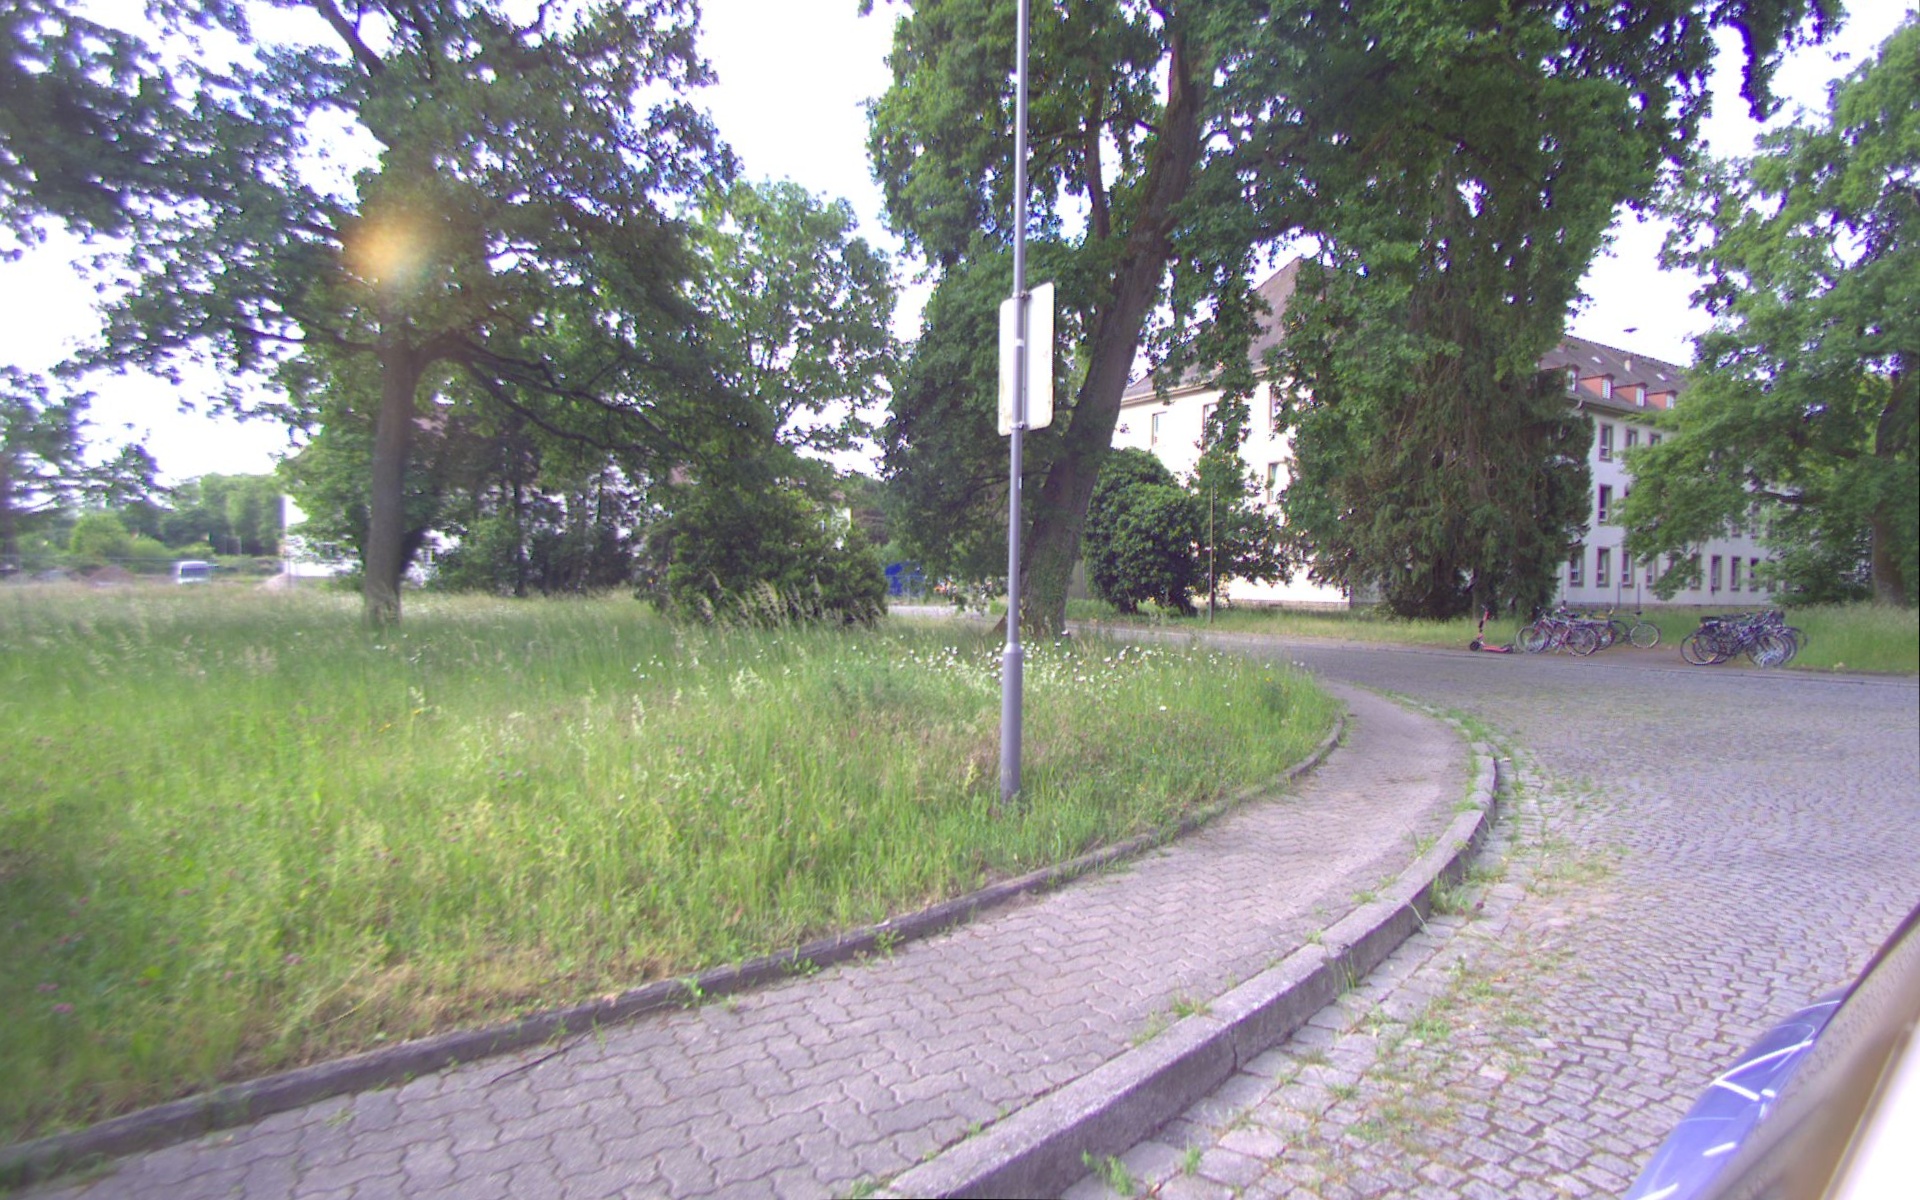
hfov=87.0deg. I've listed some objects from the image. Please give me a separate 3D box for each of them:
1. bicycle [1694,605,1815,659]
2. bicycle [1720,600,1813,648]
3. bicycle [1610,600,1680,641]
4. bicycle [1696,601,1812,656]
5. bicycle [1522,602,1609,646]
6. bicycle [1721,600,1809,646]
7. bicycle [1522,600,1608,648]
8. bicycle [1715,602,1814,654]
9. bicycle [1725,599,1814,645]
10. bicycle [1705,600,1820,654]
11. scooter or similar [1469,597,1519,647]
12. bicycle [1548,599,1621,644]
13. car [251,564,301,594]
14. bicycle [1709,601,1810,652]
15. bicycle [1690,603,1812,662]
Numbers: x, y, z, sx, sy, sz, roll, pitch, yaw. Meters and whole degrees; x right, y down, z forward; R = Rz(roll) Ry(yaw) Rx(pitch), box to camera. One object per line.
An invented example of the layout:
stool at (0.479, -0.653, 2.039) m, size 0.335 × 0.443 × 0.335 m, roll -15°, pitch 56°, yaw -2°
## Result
bicycle at (17.082, 0.668, 21.830) m, size 2.006 × 1.022 × 0.473 m, roll 2°, pitch 4°, yaw 37°
bicycle at (20.493, 0.590, 25.754) m, size 1.798 × 1.101 × 0.546 m, roll 2°, pitch 4°, yaw 37°
bicycle at (18.660, 0.546, 27.587) m, size 1.556 × 1.047 × 0.471 m, roll 2°, pitch 2°, yaw 35°
bicycle at (17.774, 0.617, 22.708) m, size 2.006 × 1.101 × 0.473 m, roll 2°, pitch 4°, yaw 37°
bicycle at (15.216, 0.589, 25.453) m, size 1.842 × 1.002 × 0.451 m, roll 2°, pitch 2°, yaw 32°
bicycle at (20.946, 0.579, 26.379) m, size 1.741 × 1.101 × 0.546 m, roll 2°, pitch 4°, yaw 37°
bicycle at (14.914, 0.577, 24.991) m, size 1.799 × 1.101 × 0.474 m, roll 2°, pitch 3°, yaw 32°
bicycle at (18.803, 0.628, 23.704) m, size 1.779 × 1.101 × 0.473 m, roll 2°, pitch 4°, yaw 37°
bicycle at (21.503, 0.567, 26.928) m, size 1.815 × 1.101 × 0.546 m, roll 2°, pitch 4°, yaw 37°
bicycle at (18.268, 0.598, 23.099) m, size 2.006 × 1.101 × 0.473 m, roll 2°, pitch 4°, yaw 37°
scooter or similar at (13.569, 0.541, 25.718) m, size 0.377 × 1.209 × 1.065 m, roll 1°, pitch 1°, yaw -29°
bicycle at (16.358, 0.548, 26.550) m, size 1.551 × 1.101 × 0.557 m, roll 2°, pitch 1°, yaw 28°
car at (-48.867, -1.483, 72.273) m, size 2.443 × 2.039 × 5.829 m, roll -1°, pitch 1°, yaw -39°
bicycle at (19.223, 0.614, 24.372) m, size 1.855 × 1.101 × 0.513 m, roll 2°, pitch 4°, yaw 37°
bicycle at (16.742, 0.667, 21.484) m, size 2.006 × 1.101 × 0.473 m, roll 2°, pitch 4°, yaw 37°
